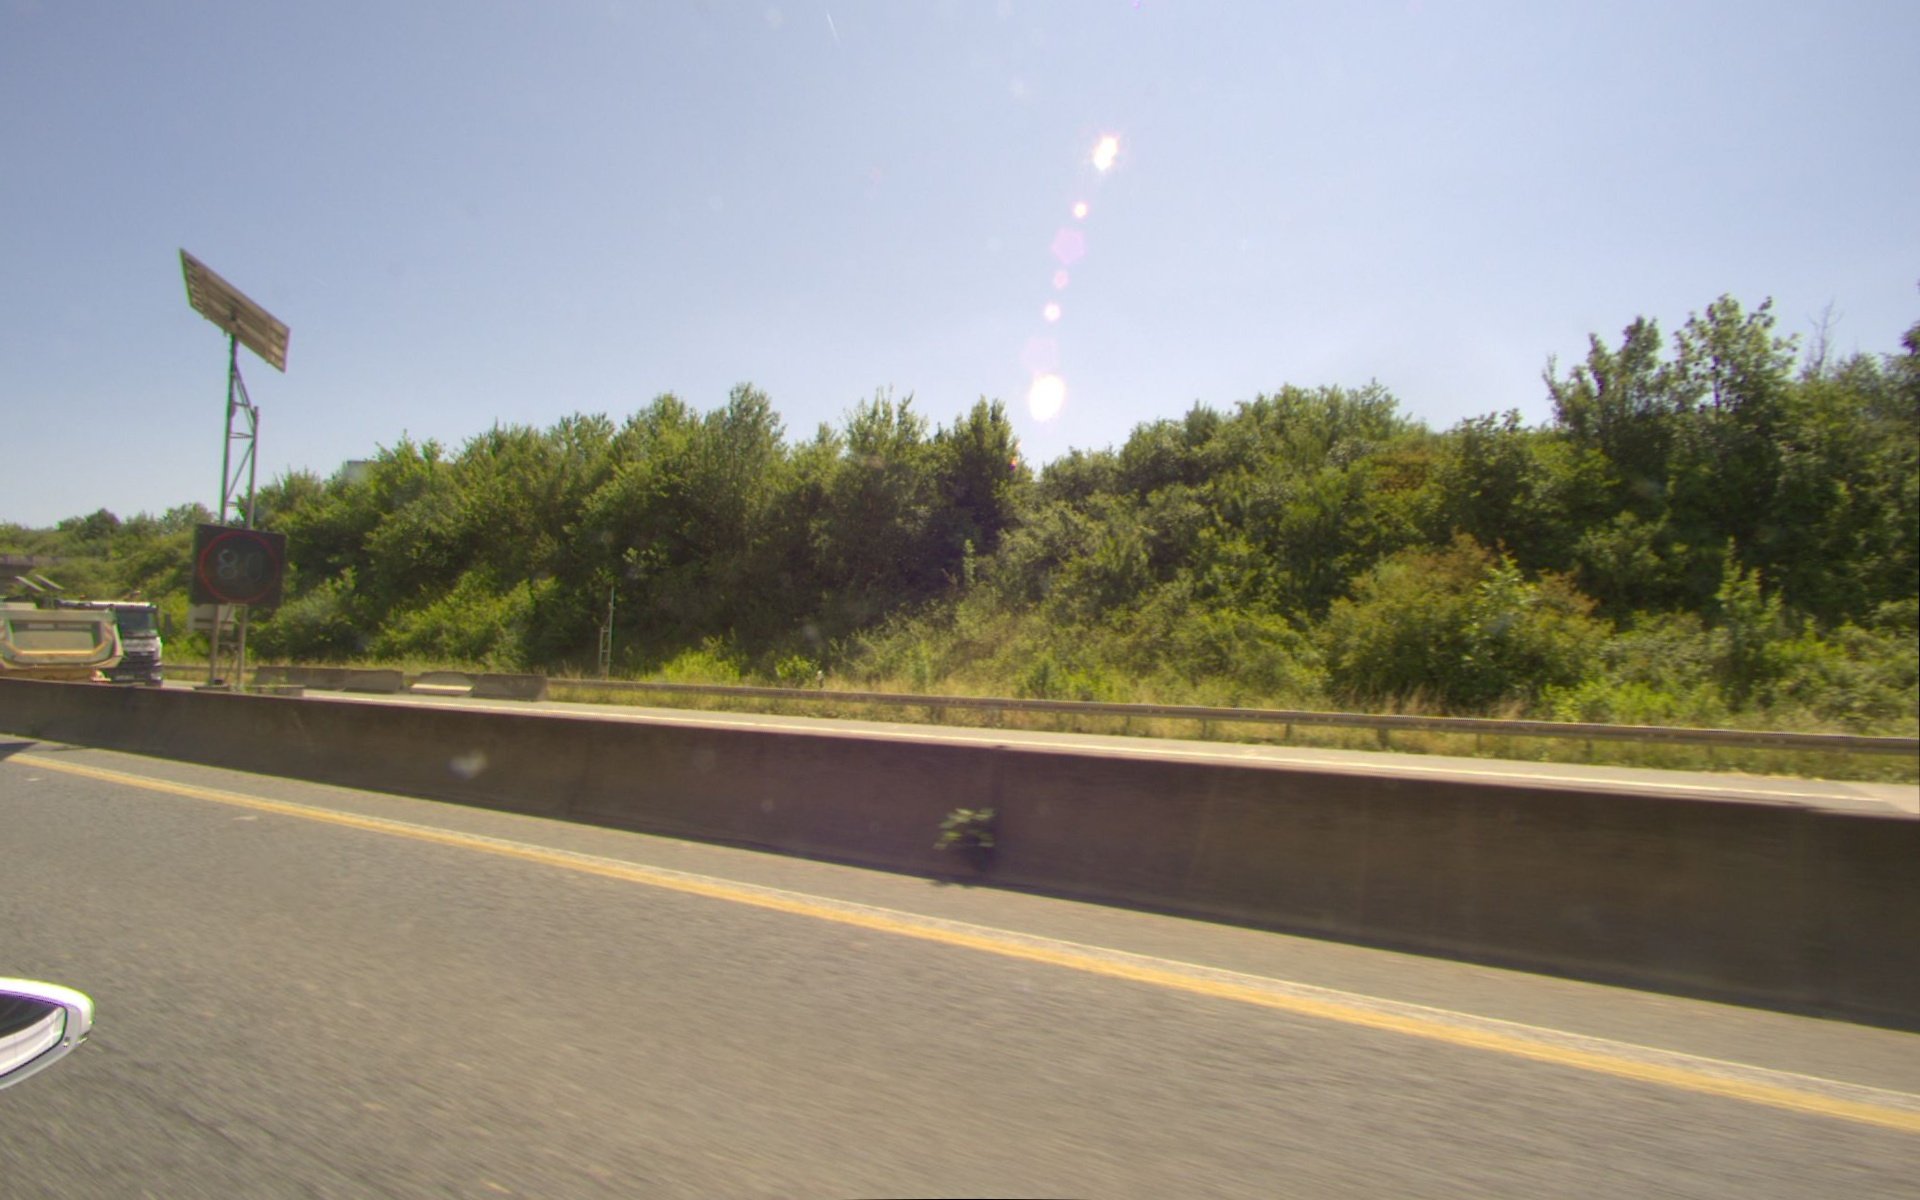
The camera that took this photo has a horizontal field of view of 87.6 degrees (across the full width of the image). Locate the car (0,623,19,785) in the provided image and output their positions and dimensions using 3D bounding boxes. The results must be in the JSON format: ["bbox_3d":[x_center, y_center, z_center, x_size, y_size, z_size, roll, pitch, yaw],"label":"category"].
[{"bbox_3d":[-11.441,0.987,9.935,4.877,1.509,1.896,-1,-3,32],"label":"car"}]

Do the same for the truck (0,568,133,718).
[{"bbox_3d":[-25.872,1.120,27.112,8.964,3.555,2.530,-1,-2,31],"label":"truck"}]

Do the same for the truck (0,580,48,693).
[{"bbox_3d":[-33.919,1.206,33.666,8.816,3.555,2.529,-1,-2,32],"label":"truck"}]

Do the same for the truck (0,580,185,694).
[{"bbox_3d":[-30.207,1.260,34.568,8.258,3.555,2.684,-1,-2,31],"label":"truck"}]
